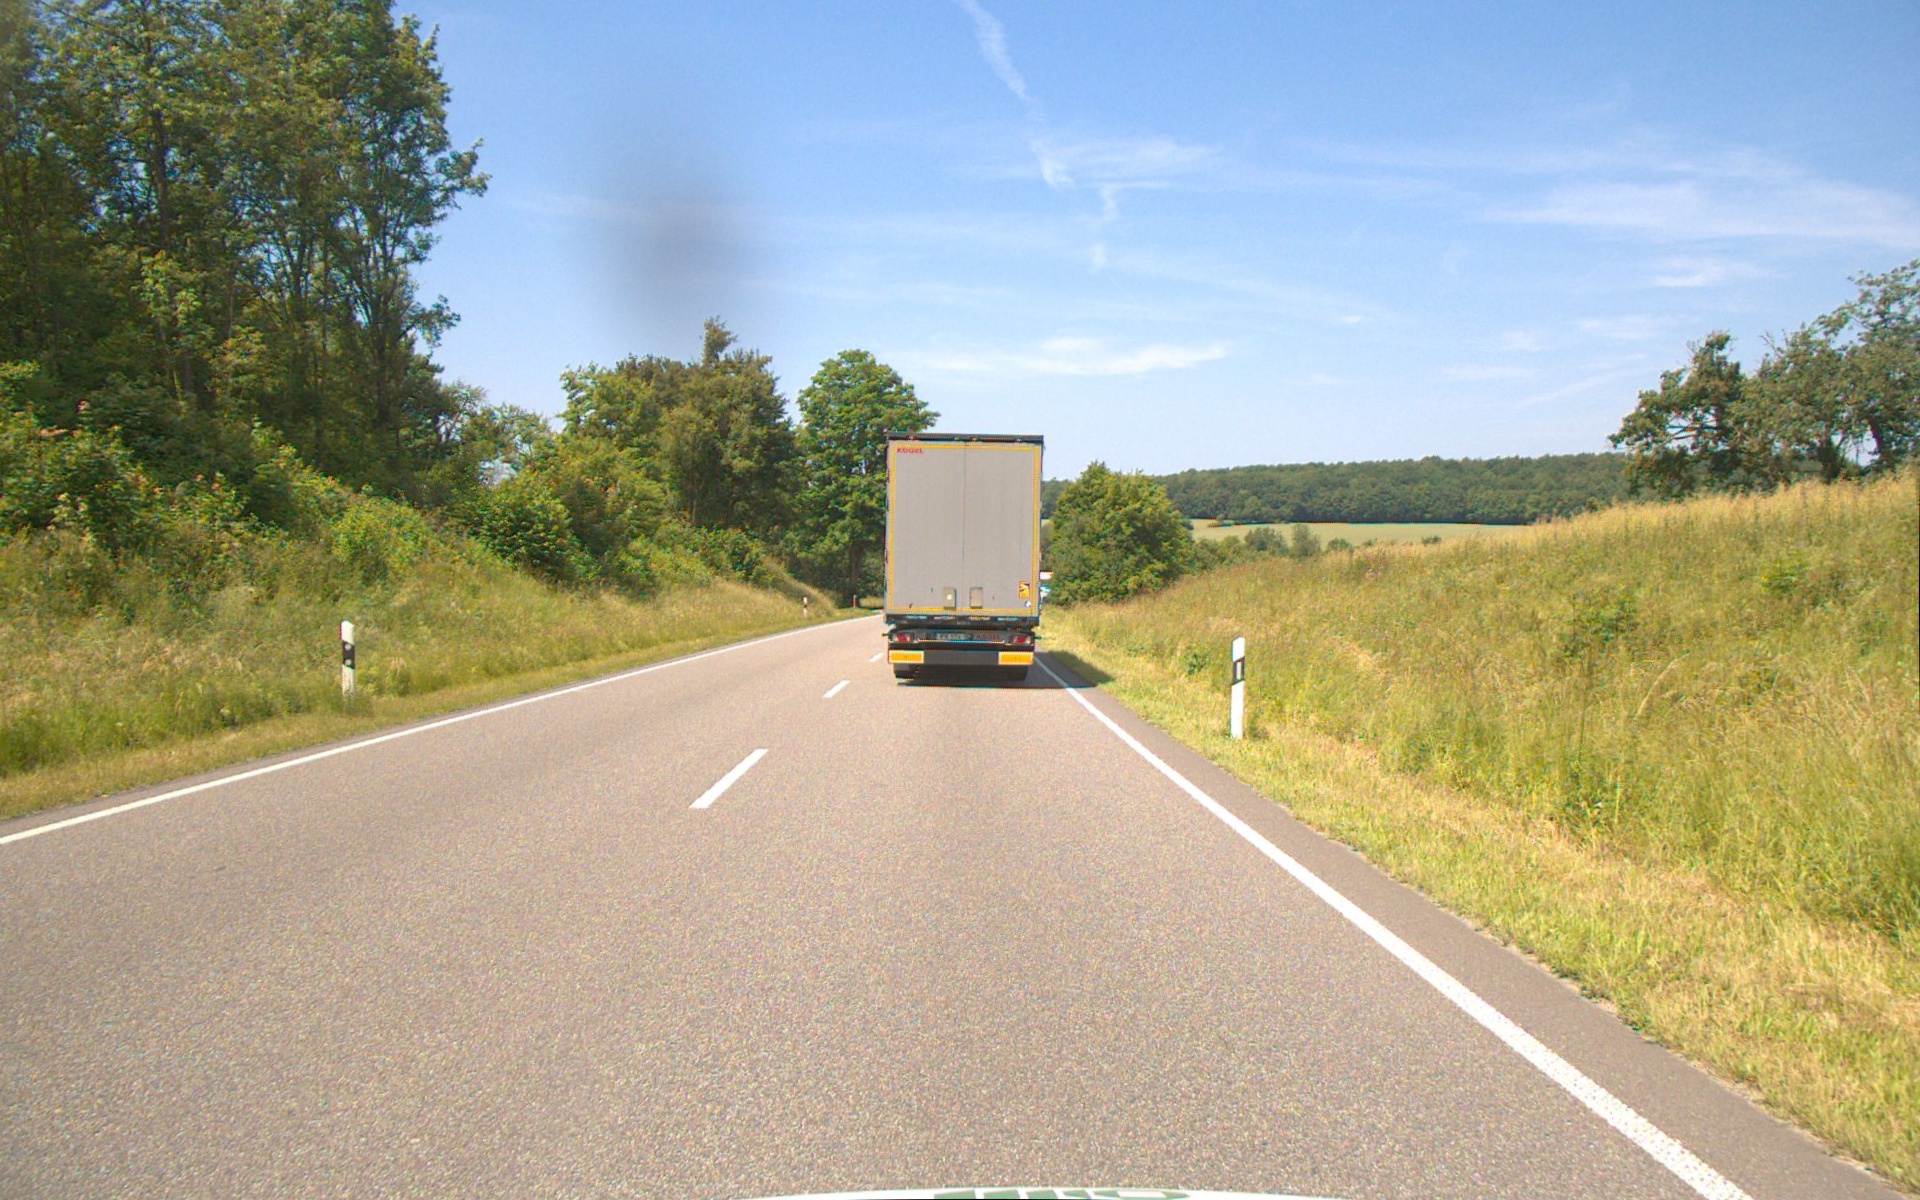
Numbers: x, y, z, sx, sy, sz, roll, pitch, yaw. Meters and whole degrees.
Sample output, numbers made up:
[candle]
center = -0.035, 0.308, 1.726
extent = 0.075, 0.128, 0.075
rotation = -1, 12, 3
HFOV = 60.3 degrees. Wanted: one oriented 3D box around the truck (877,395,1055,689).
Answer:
[truck]
center = -0.089, -0.967, 32.174
extent = 2.760, 4.611, 11.764
rotation = 1, 0, -2
